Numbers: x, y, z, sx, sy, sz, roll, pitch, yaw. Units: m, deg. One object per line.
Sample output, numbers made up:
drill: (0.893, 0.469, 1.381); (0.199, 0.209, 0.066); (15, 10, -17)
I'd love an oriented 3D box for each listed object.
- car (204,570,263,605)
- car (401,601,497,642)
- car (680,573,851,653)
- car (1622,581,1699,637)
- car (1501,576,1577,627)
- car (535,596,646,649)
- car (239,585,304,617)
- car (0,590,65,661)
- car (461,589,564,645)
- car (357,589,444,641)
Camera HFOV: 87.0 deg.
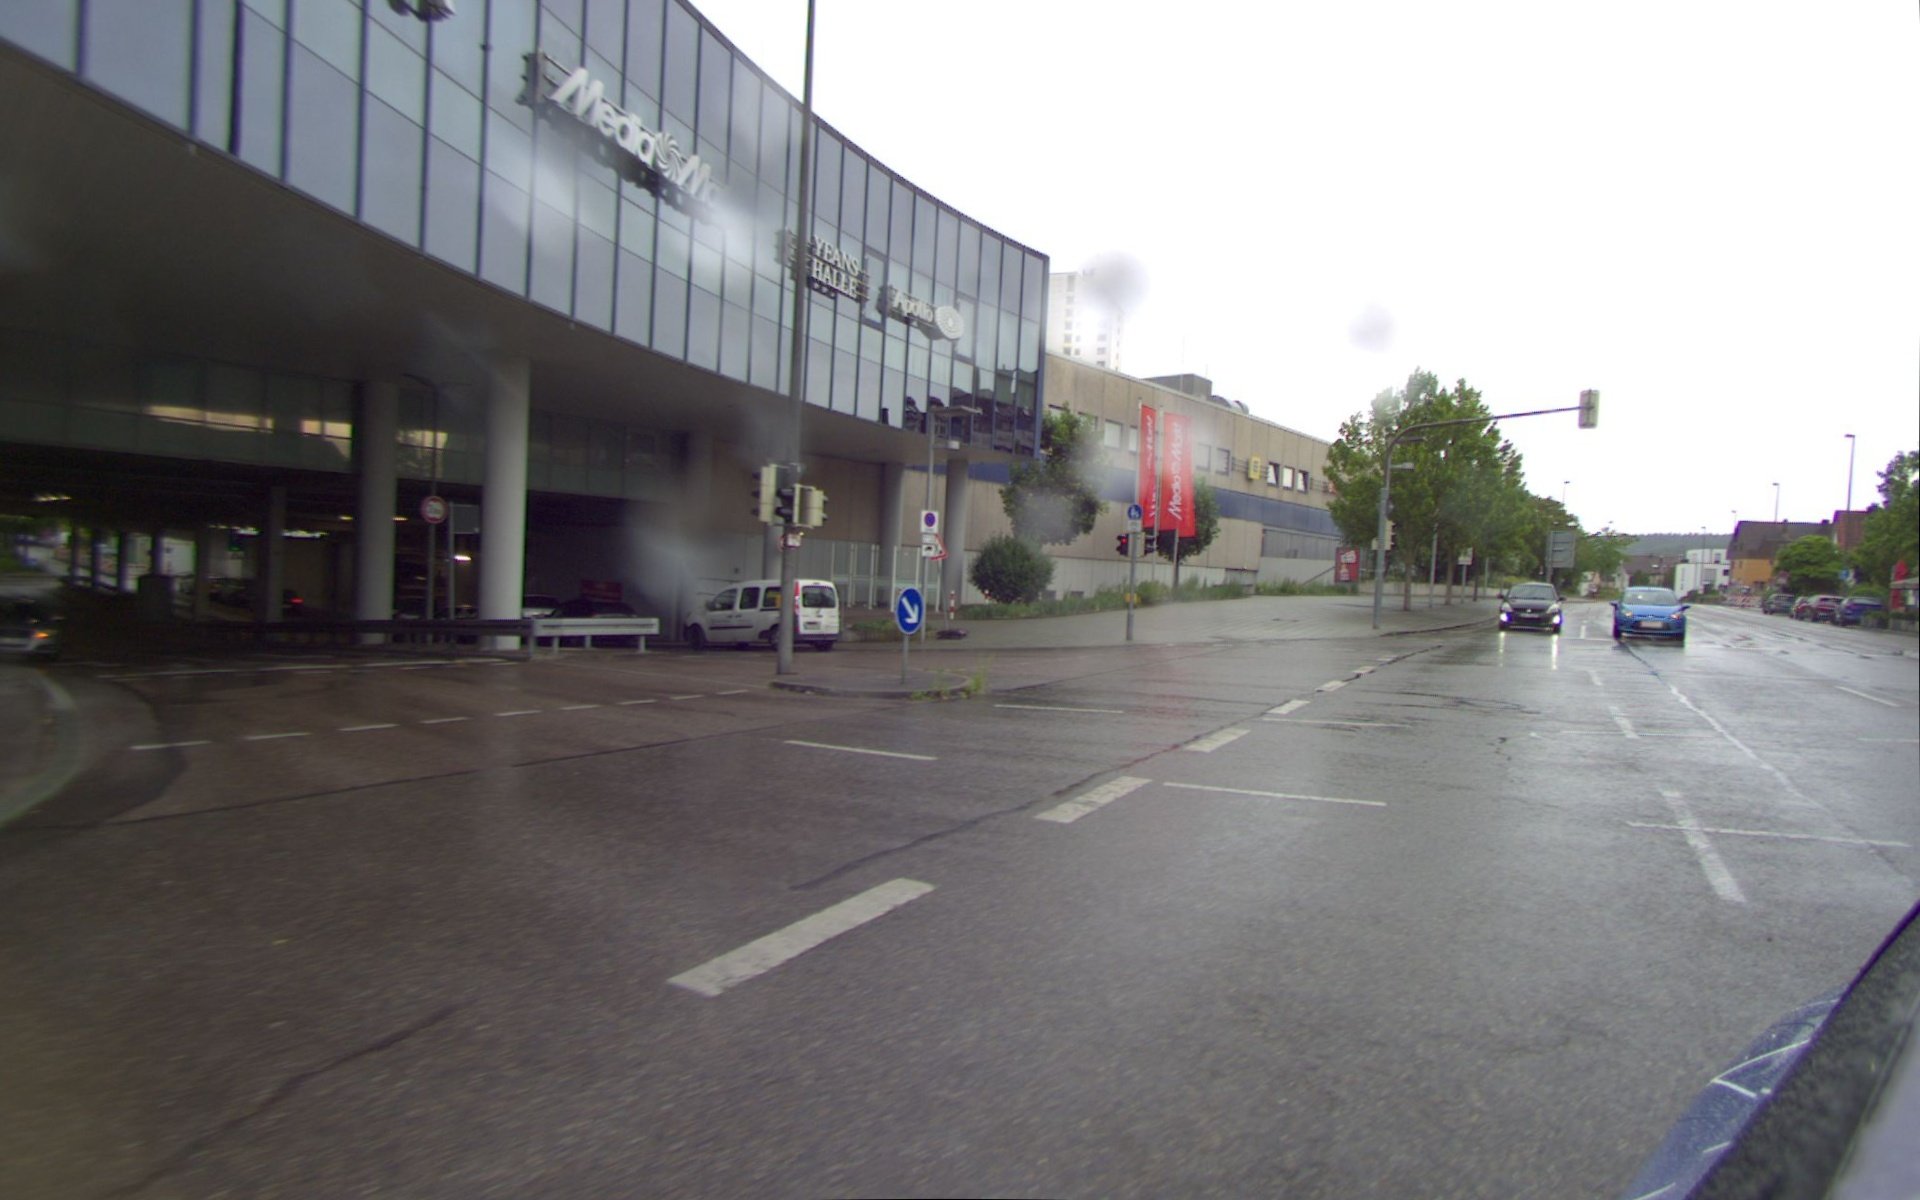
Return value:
car: (-42.502, -0.727, 59.194); (3.574, 1.799, 1.821); (4, 0, 39)
car: (-19.032, 0.818, 37.625); (3.980, 1.418, 1.760); (-3, -2, 40)
car: (-5.017, 0.270, 25.851); (4.271, 1.820, 1.907); (2, 1, 36)
car: (20.287, 0.211, 29.429); (1.668, 1.414, 3.810); (3, 3, 33)
car: (18.281, -0.002, 31.883); (1.733, 1.411, 3.652); (3, 3, 34)
car: (-11.174, 0.625, 30.459); (1.734, 1.482, 3.933); (-1, 0, -44)
car: (-37.608, 0.024, 55.275); (3.823, 1.510, 1.867); (4, 1, 39)
car: (-21.715, 0.574, 22.792); (4.010, 1.488, 1.870); (-2, -1, 42)
car: (-14.892, 0.583, 33.587); (4.247, 1.632, 1.613); (-4, -2, 44)
car: (-22.475, 0.545, 40.614); (3.983, 1.792, 1.771); (4, 3, 40)
